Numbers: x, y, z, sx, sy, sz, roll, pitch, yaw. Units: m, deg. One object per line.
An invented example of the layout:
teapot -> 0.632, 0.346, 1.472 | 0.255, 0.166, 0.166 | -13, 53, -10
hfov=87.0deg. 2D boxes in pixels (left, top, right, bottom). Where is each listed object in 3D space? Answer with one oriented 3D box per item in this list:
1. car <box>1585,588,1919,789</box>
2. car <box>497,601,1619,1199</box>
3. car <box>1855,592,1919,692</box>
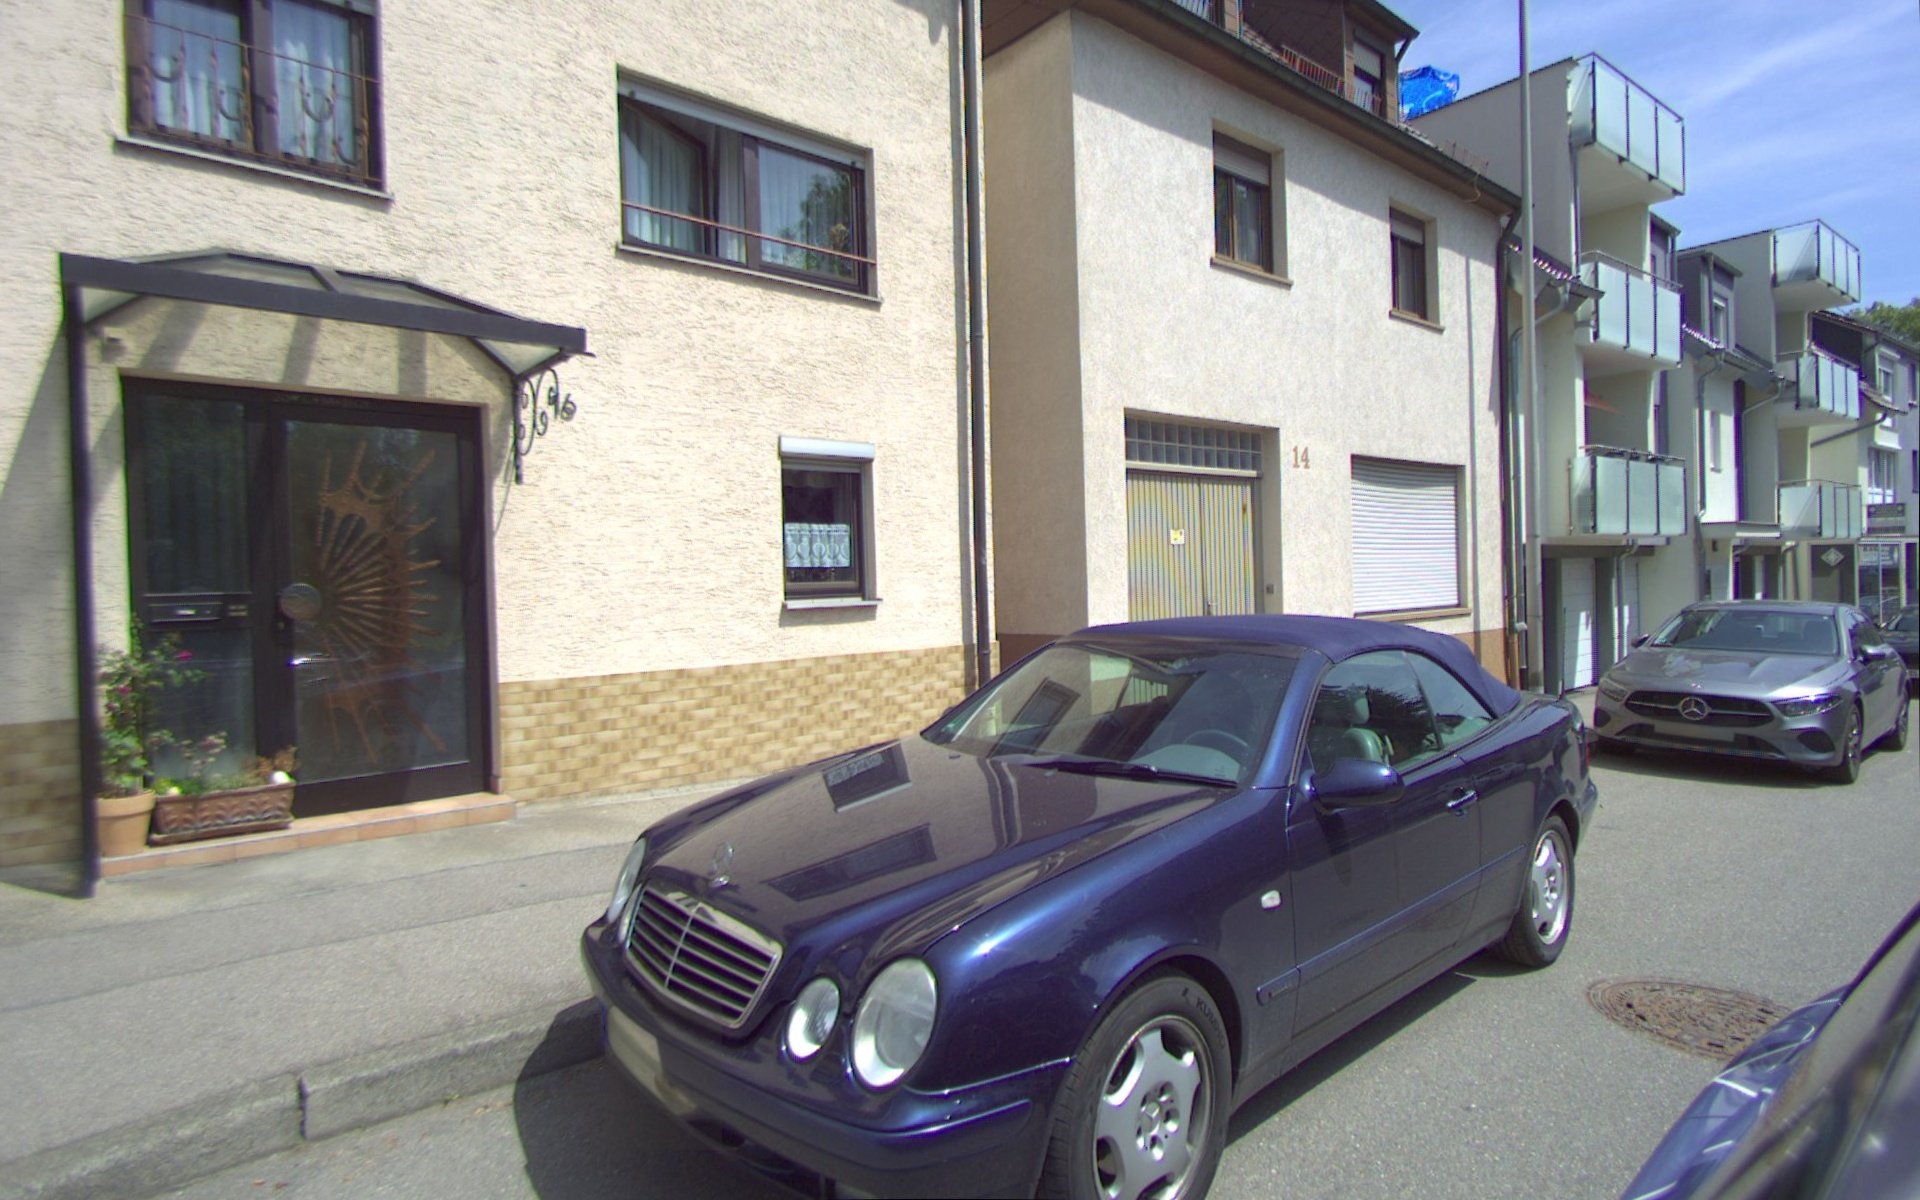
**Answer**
car -> 7.652, 0.637, 9.471 | 4.334, 1.420, 1.798 | 0, 2, -40
car -> 0.785, 0.698, 3.589 | 4.116, 1.370, 1.668 | 0, 0, -43
car -> 15.977, 0.621, 16.057 | 4.210, 1.442, 1.803 | -1, 2, -36
